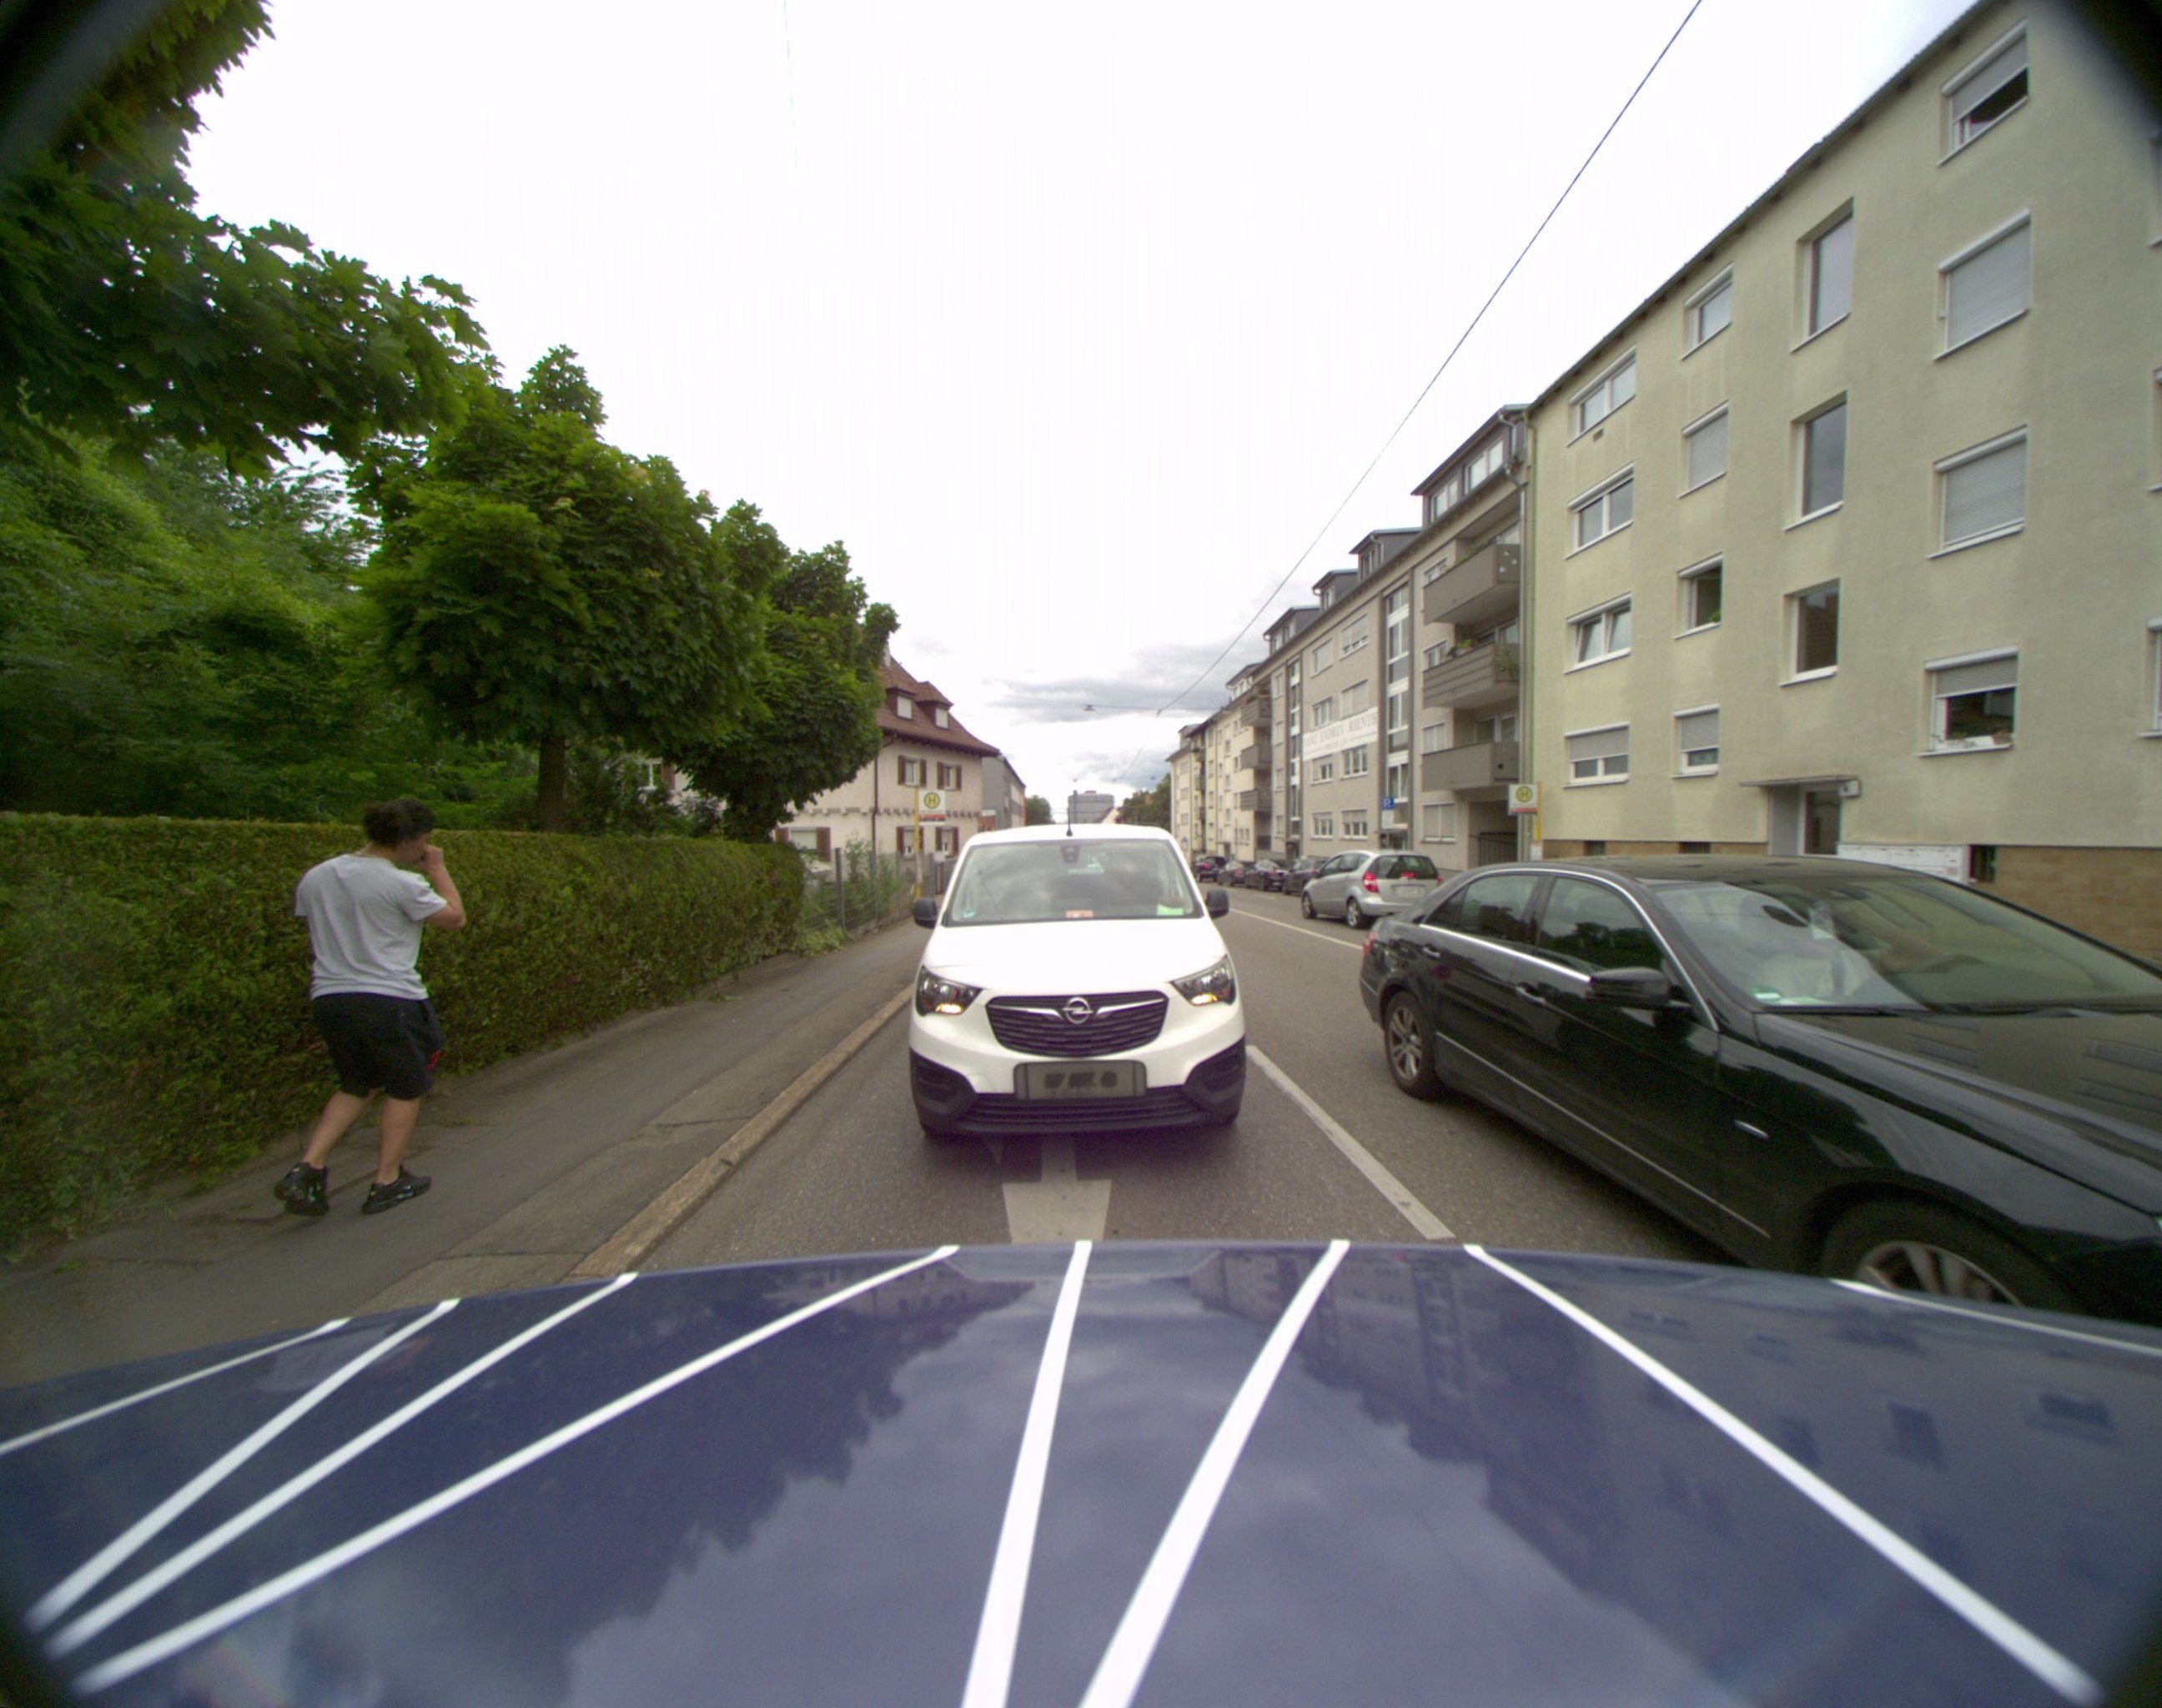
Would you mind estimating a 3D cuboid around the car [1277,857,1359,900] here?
[{"bbox_3d":[8.886,0.866,28.855,1.773,1.428,3.800,2,0,-2],"label":"car"}]

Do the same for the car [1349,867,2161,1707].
[{"bbox_3d":[2.787,0.859,3.028,1.752,1.446,4.444,-2,1,-1],"label":"car"}]

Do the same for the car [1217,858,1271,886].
[{"bbox_3d":[8.496,0.901,39.941,1.773,1.397,4.306,0,0,-2],"label":"car"}]

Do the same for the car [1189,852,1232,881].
[{"bbox_3d":[8.325,0.780,49.063,1.875,1.743,4.306,2,1,-2],"label":"car"}]

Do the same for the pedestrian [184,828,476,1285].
[{"bbox_3d":[-3.049,0.778,3.127,0.695,1.728,0.467,2,1,-1],"label":"pedestrian"}]

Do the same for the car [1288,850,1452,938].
[{"bbox_3d":[5.997,0.737,16.305,1.714,1.608,3.997,-1,1,-5],"label":"car"}]

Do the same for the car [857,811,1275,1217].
[{"bbox_3d":[-0.122,0.698,5.413,1.803,1.736,3.999,-3,1,-2],"label":"car"}]

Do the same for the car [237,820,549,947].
[{"bbox_3d":[-12.590,0.450,14.117,1.994,2.002,4.008,-1,0,40],"label":"car"}]

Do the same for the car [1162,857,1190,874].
[{"bbox_3d":[8.187,0.969,65.984,1.875,1.372,4.307,2,0,0],"label":"car"}]
